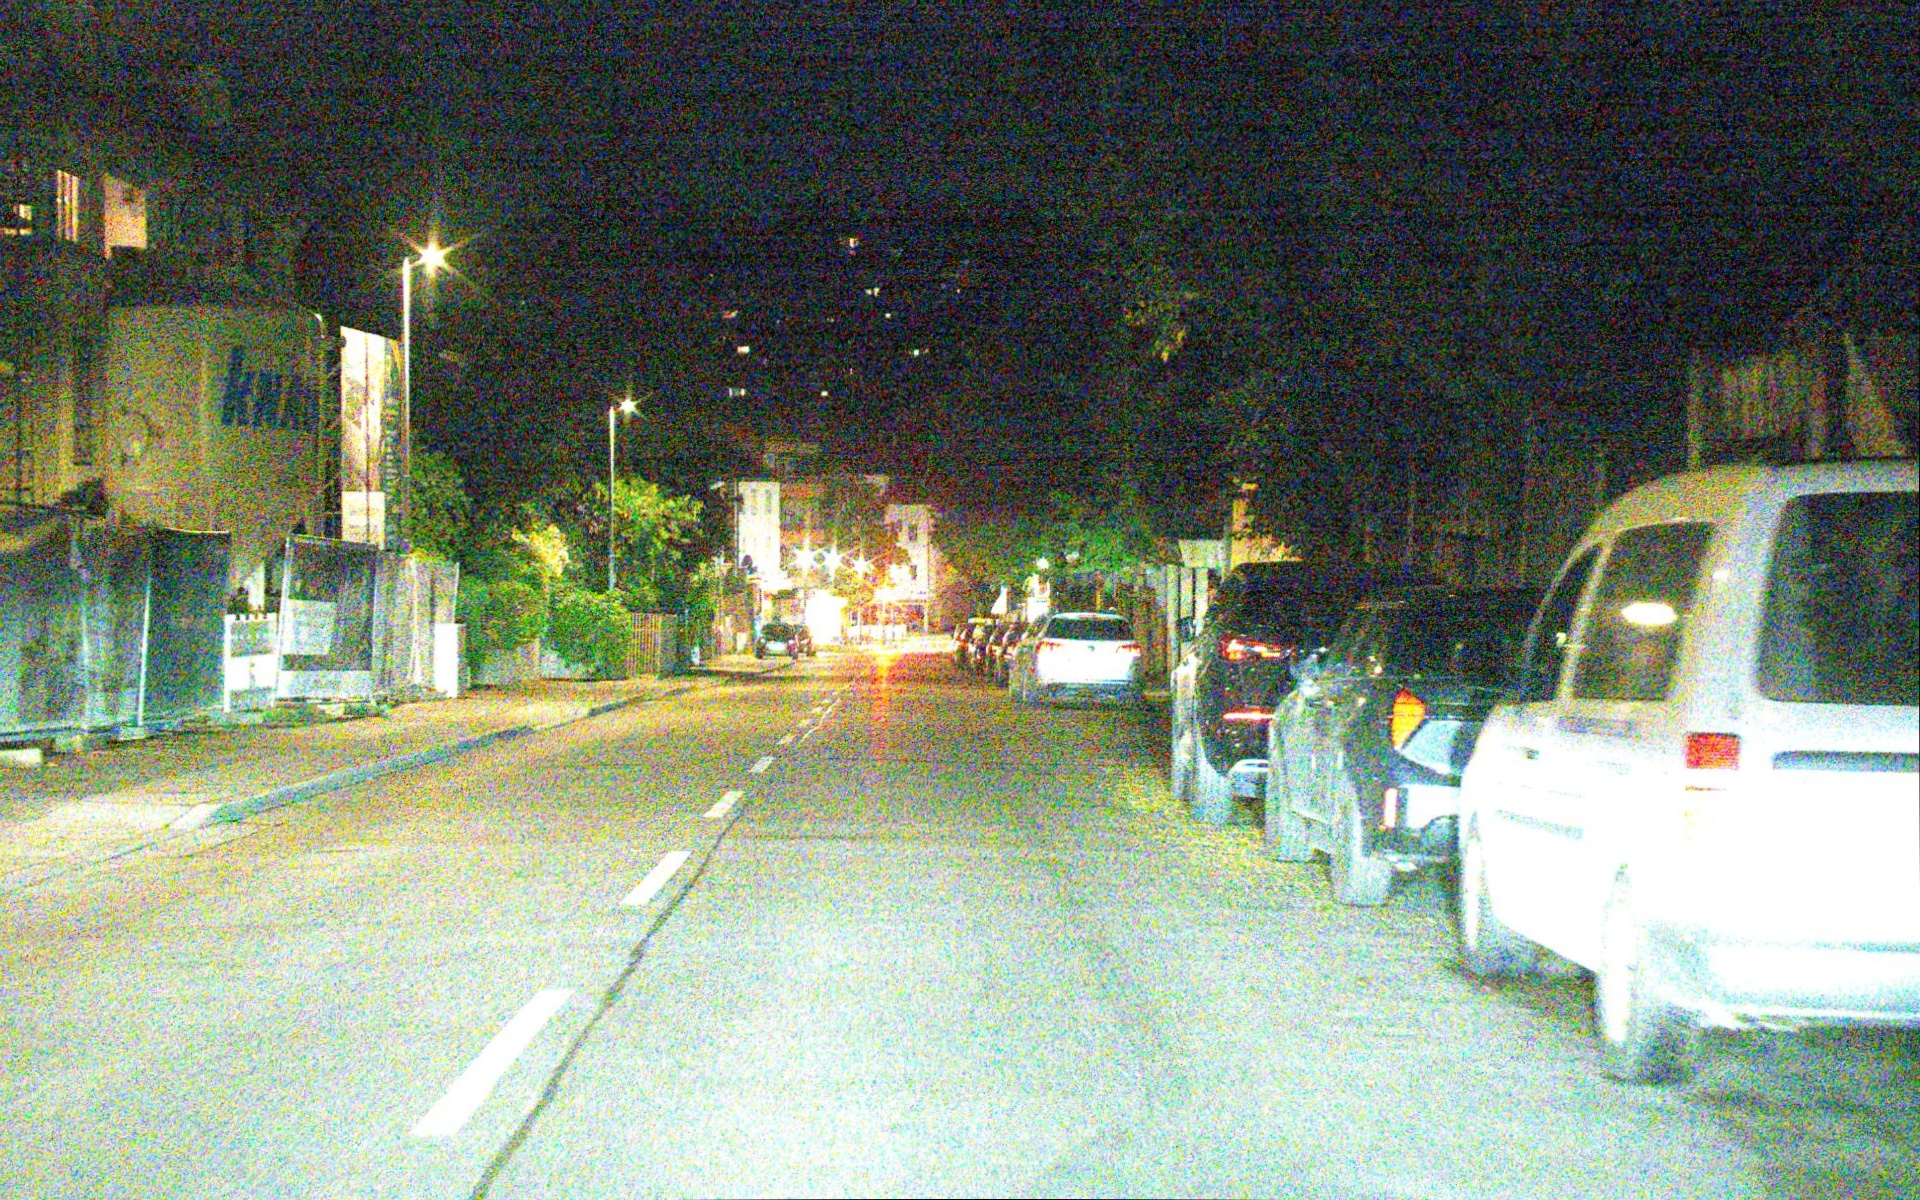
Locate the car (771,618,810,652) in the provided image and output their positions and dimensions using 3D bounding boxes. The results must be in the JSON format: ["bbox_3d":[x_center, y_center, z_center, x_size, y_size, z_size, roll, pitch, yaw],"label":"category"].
[{"bbox_3d":[-7.802,1.622,158.731,1.753,1.534,3.731,1,-1,-2],"label":"car"}]

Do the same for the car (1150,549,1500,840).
[{"bbox_3d":[2.245,0.560,22.268,1.832,1.658,4.618,1,0,1],"label":"car"}]

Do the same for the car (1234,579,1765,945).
[{"bbox_3d":[2.449,0.672,16.645,1.743,1.466,4.257,3,0,-1],"label":"car"}]

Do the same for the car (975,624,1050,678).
[{"bbox_3d":[1.456,1.384,94.801,1.868,1.398,3.999,2,0,3],"label":"car"}]

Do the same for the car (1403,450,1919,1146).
[{"bbox_3d":[2.639,0.492,11.152,1.718,1.755,4.758,2,1,0],"label":"car"}]

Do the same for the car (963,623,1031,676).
[{"bbox_3d":[1.054,1.420,99.645,1.682,1.444,4.000,2,0,-3],"label":"car"}]

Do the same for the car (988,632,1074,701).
[{"bbox_3d":[1.534,1.430,75.140,1.629,1.434,3.864,1,-1,-2],"label":"car"}]

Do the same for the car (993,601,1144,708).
[{"bbox_3d":[1.591,0.803,51.836,1.763,1.471,4.276,3,-1,-5],"label":"car"}]

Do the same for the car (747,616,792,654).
[{"bbox_3d":[-7.842,1.432,141.608,1.753,1.534,3.731,1,-1,-4],"label":"car"}]
